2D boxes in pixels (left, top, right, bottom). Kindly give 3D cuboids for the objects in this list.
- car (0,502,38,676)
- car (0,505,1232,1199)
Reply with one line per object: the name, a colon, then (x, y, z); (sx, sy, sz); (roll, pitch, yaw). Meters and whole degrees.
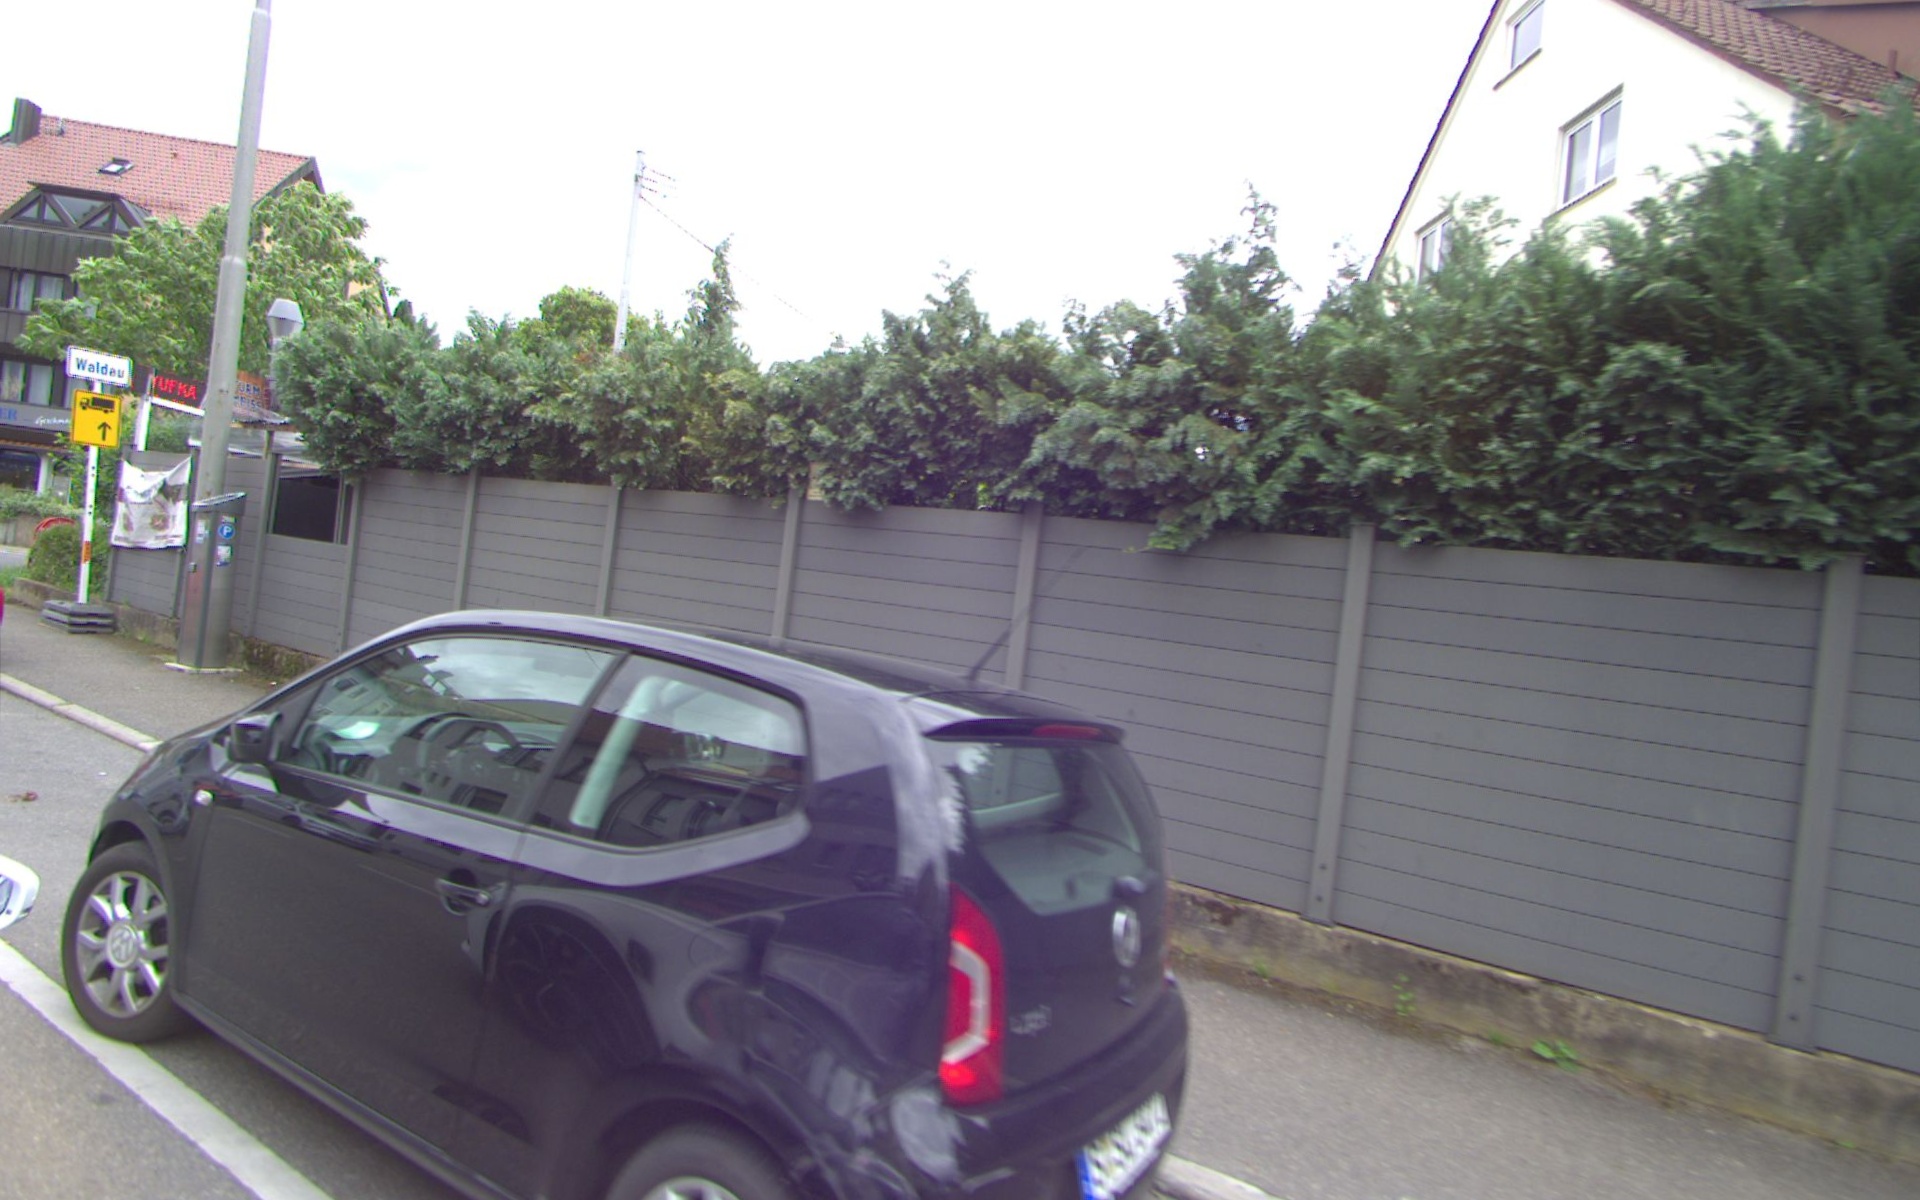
car: (-10.148, -0.332, 9.067); (3.936, 1.469, 1.760); (6, -1, 34)
car: (-1.357, 0.658, 3.313); (3.931, 1.469, 1.762); (6, -1, 29)
